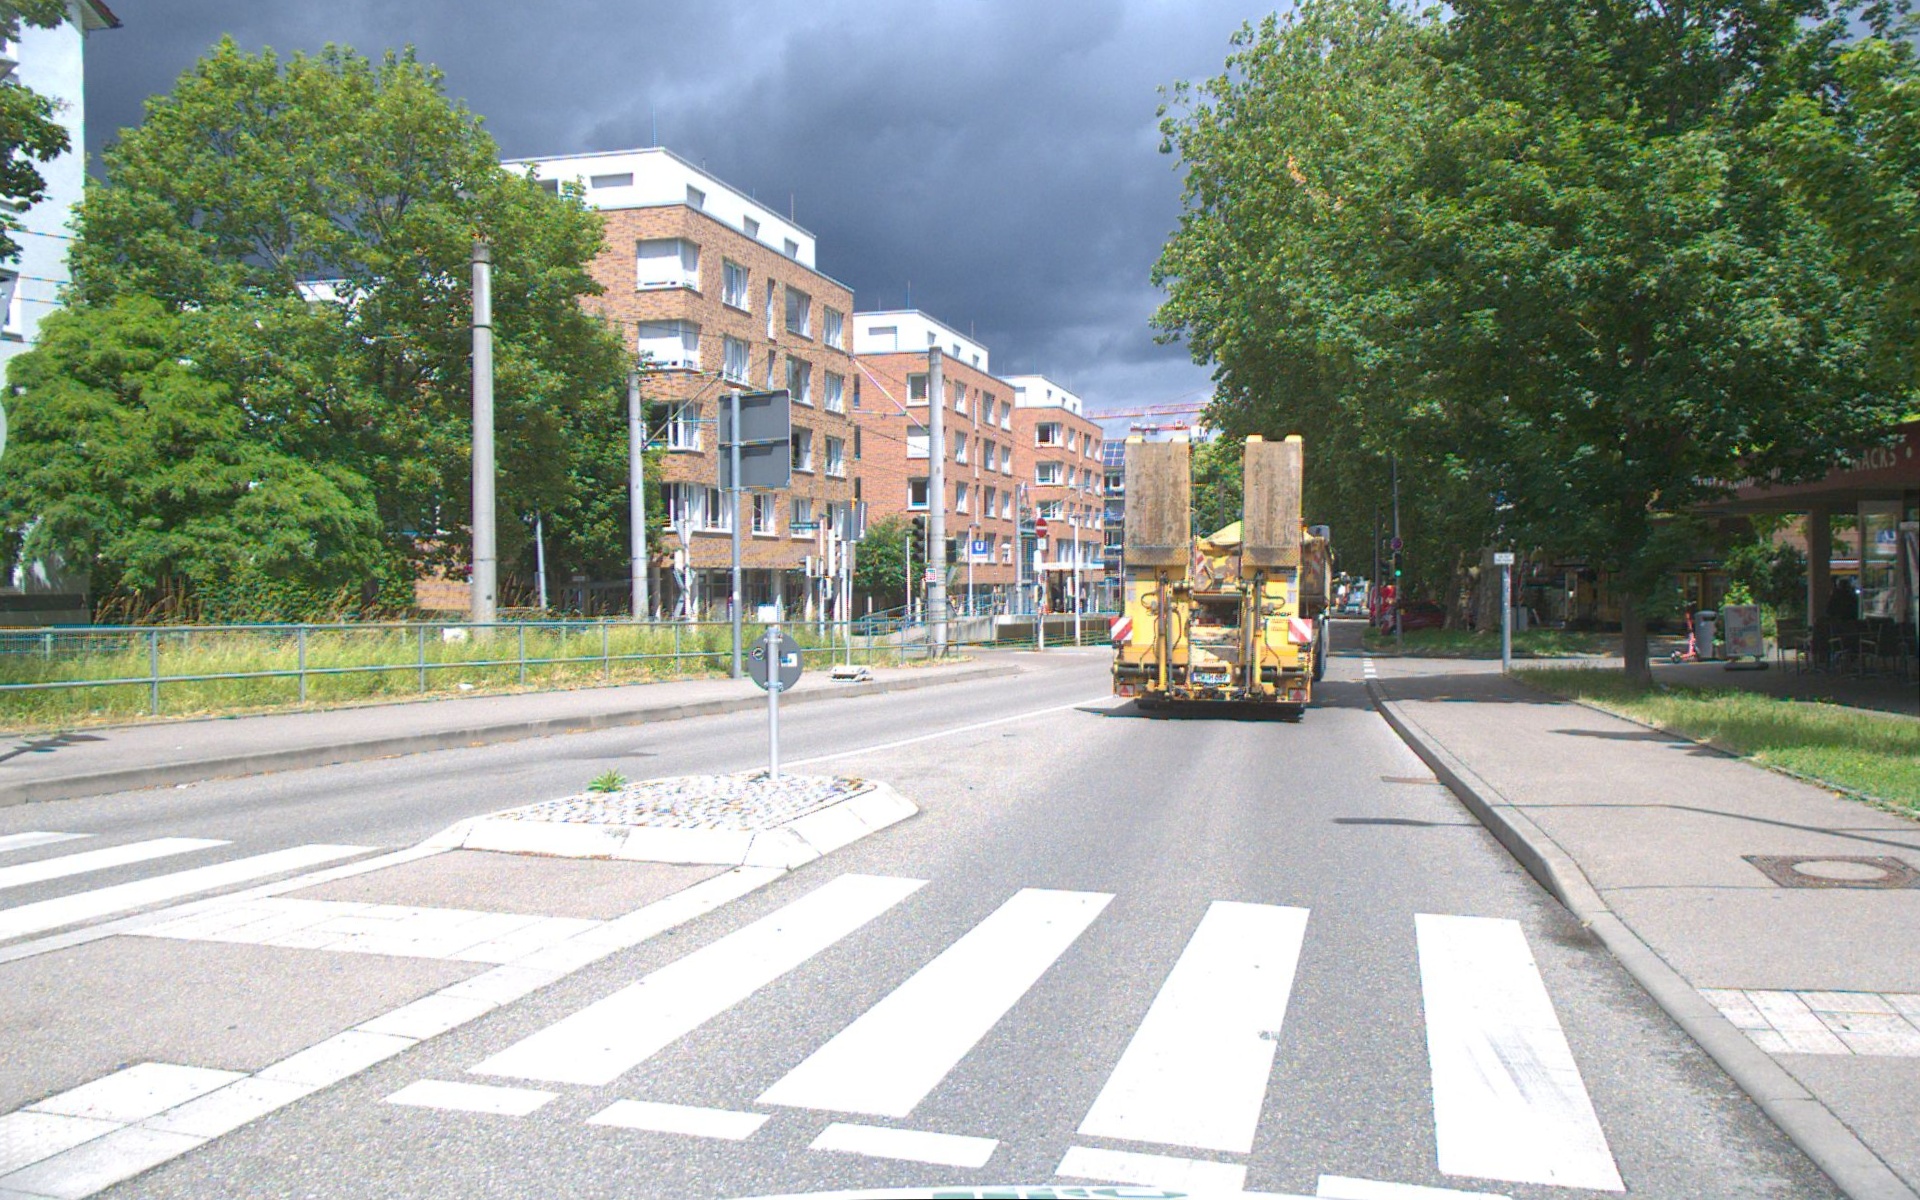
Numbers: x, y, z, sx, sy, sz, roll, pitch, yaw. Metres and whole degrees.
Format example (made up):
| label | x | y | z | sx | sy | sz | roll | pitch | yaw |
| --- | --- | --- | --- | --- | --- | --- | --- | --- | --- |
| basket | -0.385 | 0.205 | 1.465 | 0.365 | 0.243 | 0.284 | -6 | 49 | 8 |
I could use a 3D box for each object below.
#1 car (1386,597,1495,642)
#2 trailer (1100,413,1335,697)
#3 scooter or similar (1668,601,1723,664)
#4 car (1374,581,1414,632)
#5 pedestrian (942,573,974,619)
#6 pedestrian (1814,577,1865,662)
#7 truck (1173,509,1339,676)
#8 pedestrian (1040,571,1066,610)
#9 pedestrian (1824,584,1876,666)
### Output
| label | x | y | z | sx | sy | sz | roll | pitch | yaw |
| --- | --- | --- | --- | --- | --- | --- | --- | --- | --- |
| car | 18.261 | 0.732 | 62.855 | 3.903 | 1.537 | 2.002 | 1 | 3 | 17 |
| trailer | 4.307 | -0.530 | 25.857 | 2.802 | 3.431 | 10.850 | -2 | 0 | 12 |
| scooter or similar | 15.587 | 0.668 | 35.035 | 0.511 | 1.248 | 1.720 | 0 | 1 | 44 |
| car | 26.128 | 0.333 | 99.516 | 1.952 | 2.876 | 5.118 | 3 | 2 | 17 |
| pedestrian | -0.086 | -0.176 | 74.500 | 1.113 | 2.049 | 0.998 | -1 | -1 | 21 |
| pedestrian | 16.778 | 0.366 | 31.569 | 0.682 | 1.601 | 0.558 | -1 | -1 | 8 |
| truck | 6.514 | -0.130 | 35.308 | 2.924 | 3.088 | 8.492 | -1 | 0 | 14 |
| pedestrian | 4.975 | -0.477 | 88.161 | 1.113 | 2.049 | 0.998 | -1 | -1 | 21 |
| pedestrian | 16.674 | 0.462 | 31.001 | 0.682 | 1.514 | 0.558 | -1 | -1 | 8 |
